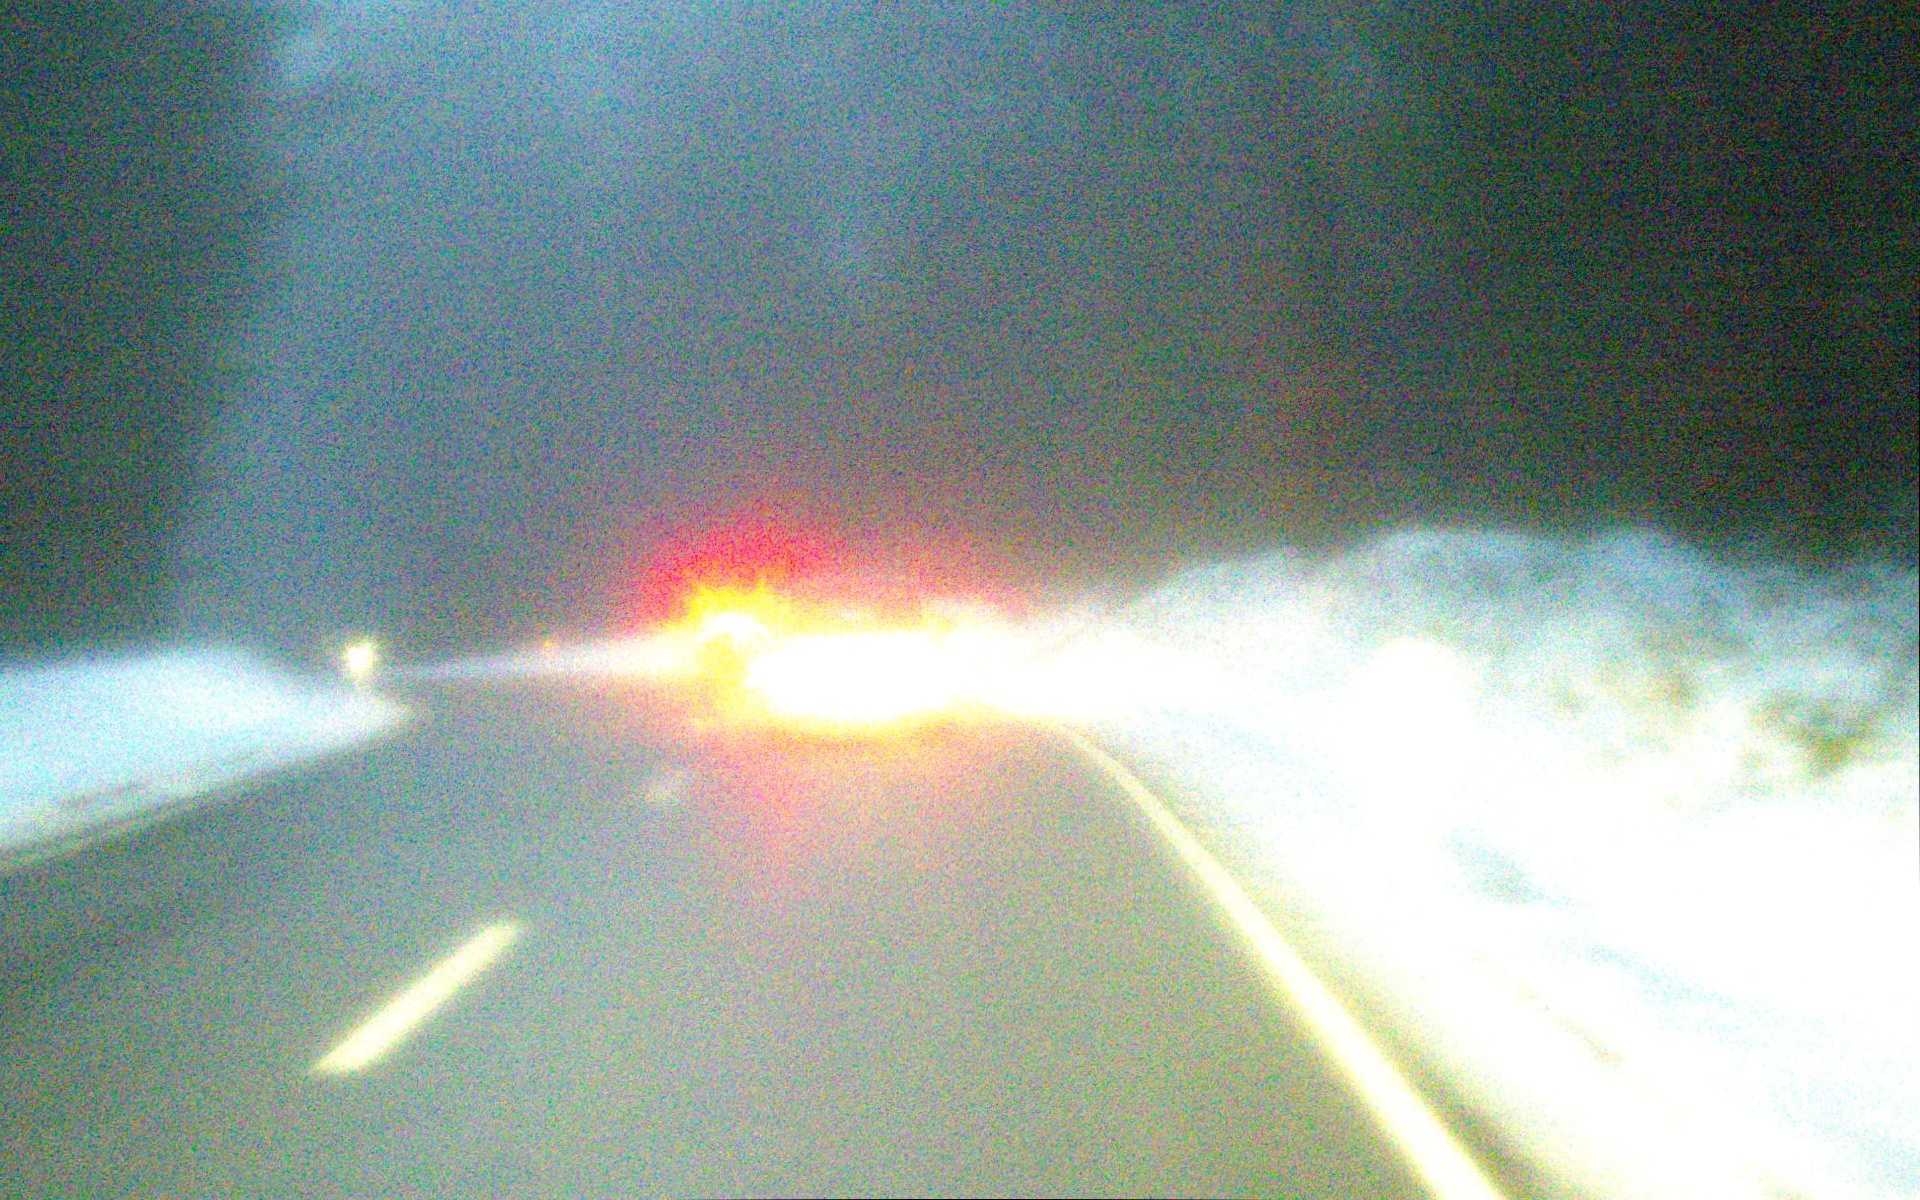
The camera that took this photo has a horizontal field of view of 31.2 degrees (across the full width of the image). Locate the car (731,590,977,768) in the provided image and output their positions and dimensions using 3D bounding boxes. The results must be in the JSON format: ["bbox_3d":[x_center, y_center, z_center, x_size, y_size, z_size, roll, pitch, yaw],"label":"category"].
[{"bbox_3d":[-0.950,0.730,29.776,1.945,1.377,4.000,2,-3,-3],"label":"car"}]

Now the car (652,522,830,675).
[{"bbox_3d":[-3.095,0.025,47.882,1.993,1.777,4.000,4,-4,-9],"label":"car"}]
